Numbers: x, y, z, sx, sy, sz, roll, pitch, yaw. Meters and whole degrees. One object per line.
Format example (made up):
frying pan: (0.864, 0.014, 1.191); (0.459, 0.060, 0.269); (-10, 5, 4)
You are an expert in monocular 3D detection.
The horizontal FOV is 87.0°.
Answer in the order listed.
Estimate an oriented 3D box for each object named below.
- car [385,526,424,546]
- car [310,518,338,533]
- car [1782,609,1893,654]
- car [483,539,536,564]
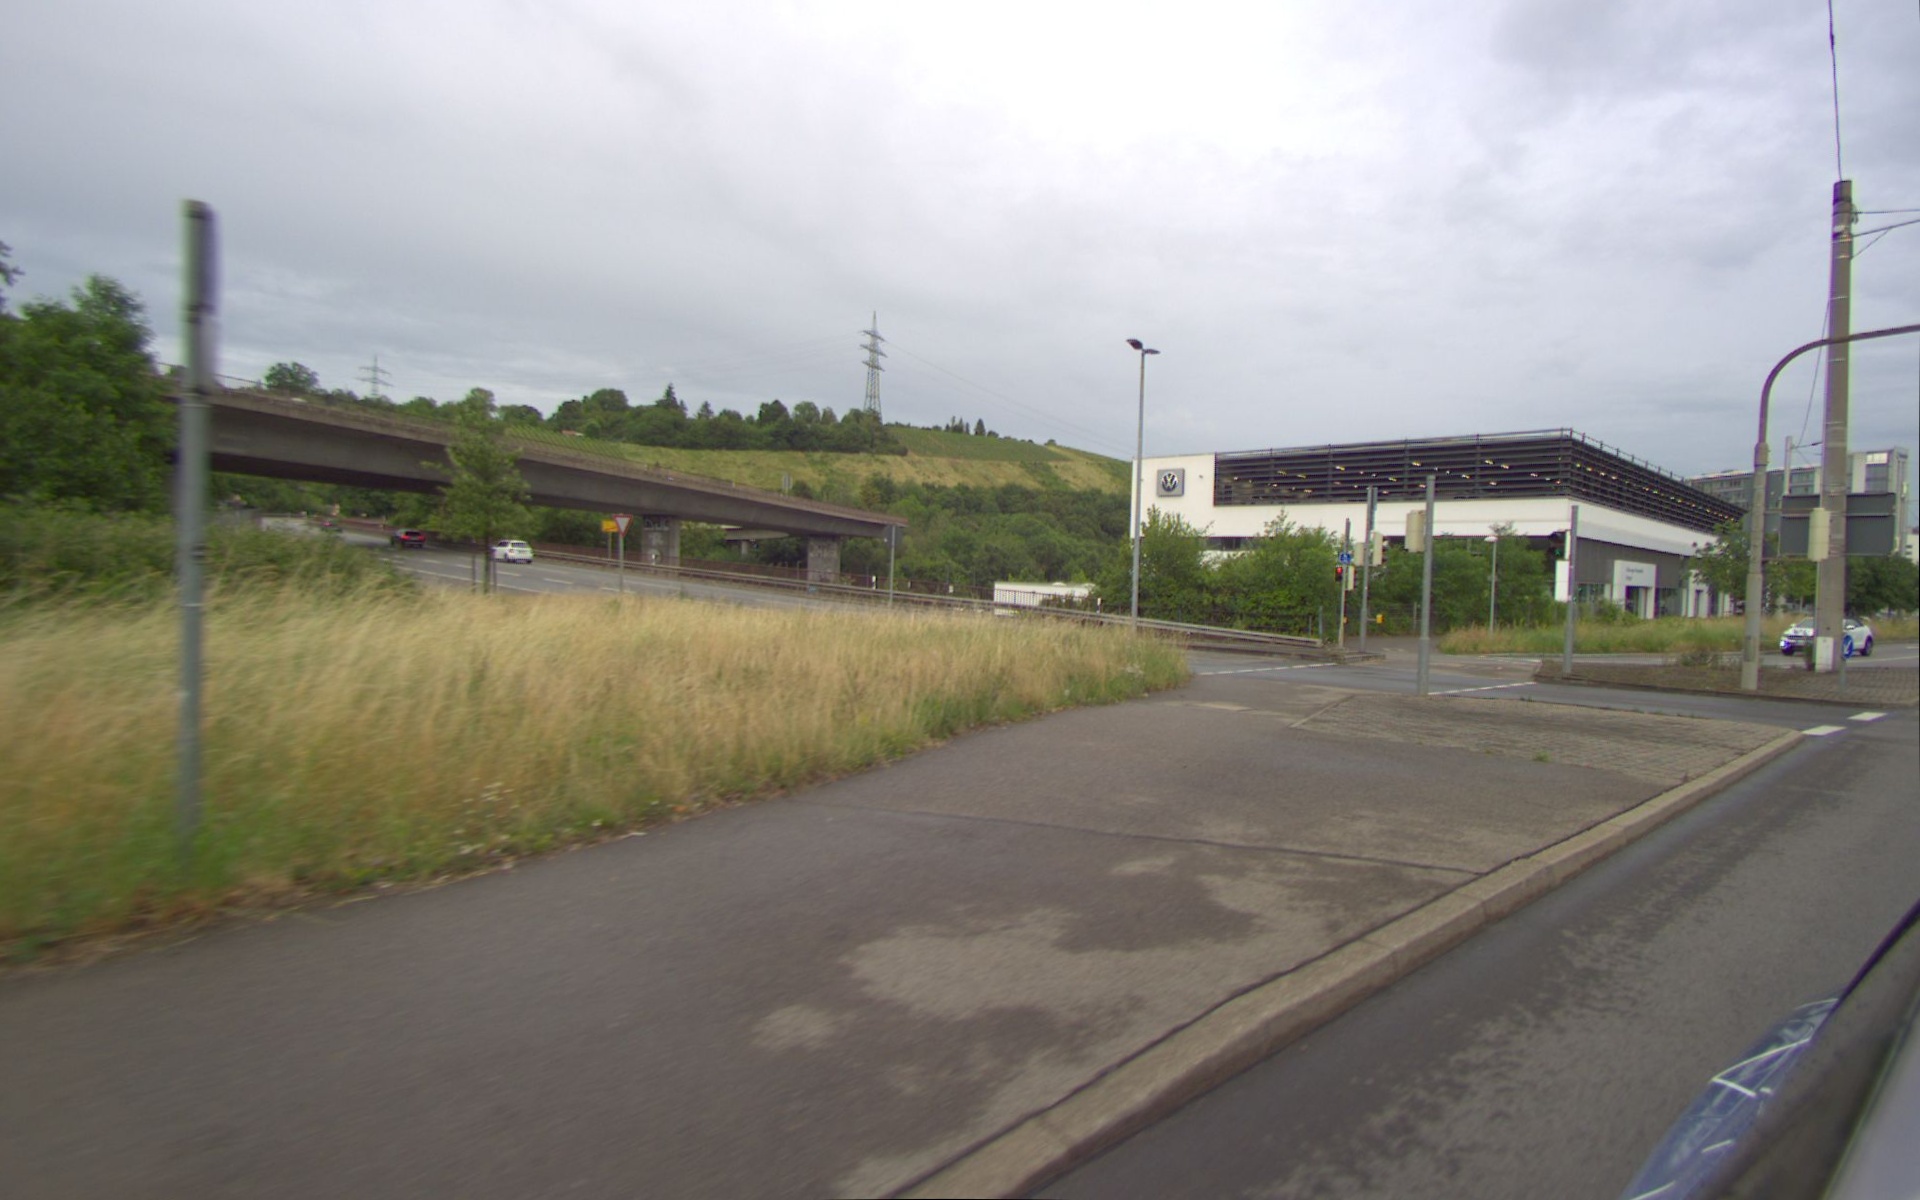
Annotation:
car: (-46.550, -5.364, 84.766); (1.872, 1.504, 3.990); (2, 1, -45)
car: (-72.933, -8.579, 116.108); (1.872, 1.504, 3.990); (2, 1, -45)
car: (33.330, 1.153, 38.439); (4.028, 1.559, 2.043); (1, 1, -31)
car: (-29.575, -3.164, 66.407); (1.872, 1.504, 3.990); (2, 1, -45)
